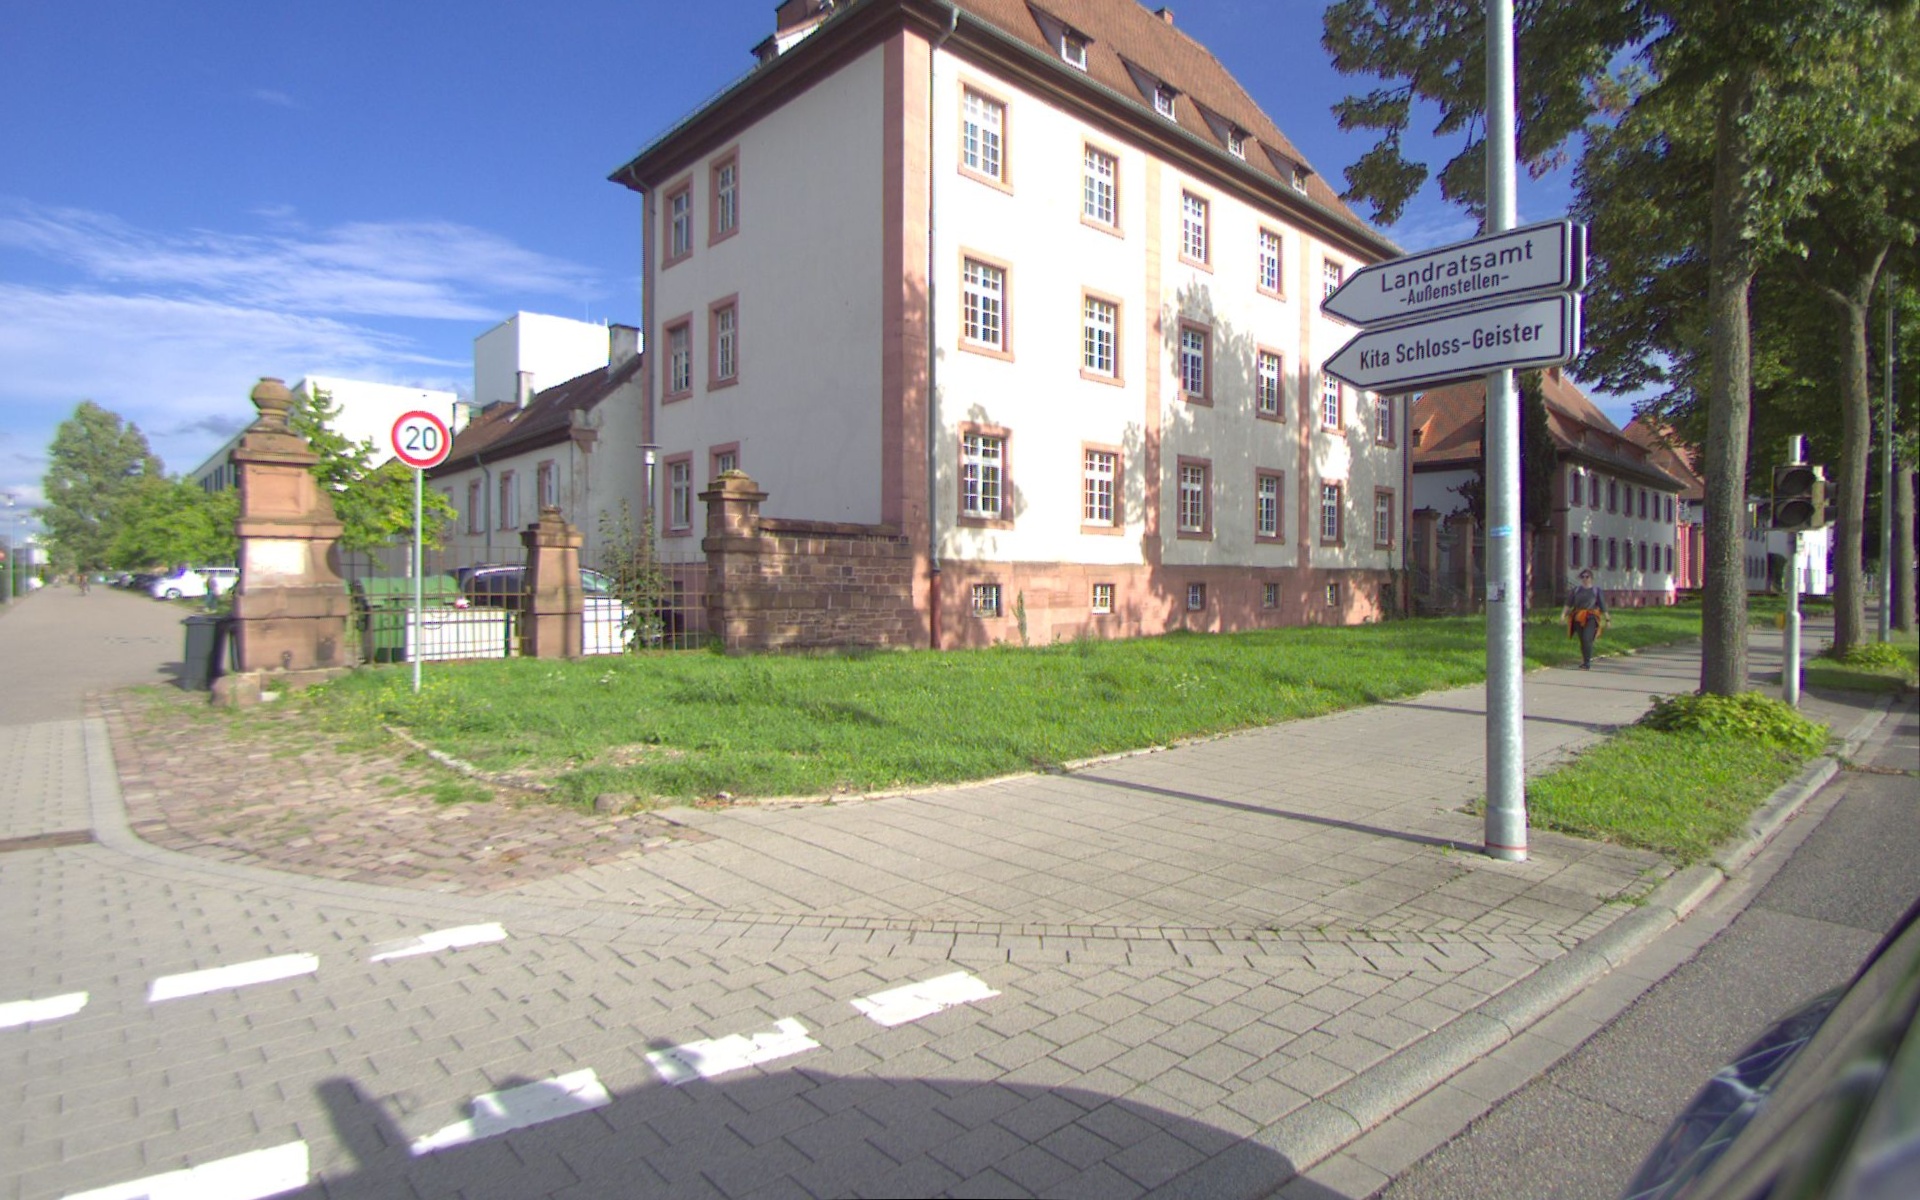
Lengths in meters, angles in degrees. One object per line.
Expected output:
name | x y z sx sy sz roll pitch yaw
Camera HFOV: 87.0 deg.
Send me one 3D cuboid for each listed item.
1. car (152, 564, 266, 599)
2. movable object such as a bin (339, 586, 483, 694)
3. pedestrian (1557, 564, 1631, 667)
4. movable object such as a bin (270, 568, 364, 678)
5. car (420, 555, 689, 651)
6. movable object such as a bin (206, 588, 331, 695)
car | -45.475 -1.128 61.369 5.392 2.039 1.997 -2 1 -41
movable object such as a bin | -8.148 0.543 15.026 1.413 1.477 1.520 0 1 43
pedestrian | 10.331 0.229 16.499 0.756 1.609 0.815 -1 3 -44
movable object such as a bin | -8.873 0.290 13.978 0.830 1.440 0.928 2 2 43
car | -7.730 -0.010 19.504 4.426 1.628 1.997 -1 2 -41
movable object such as a bin | -8.703 0.482 12.729 1.190 1.246 1.076 0 1 44
